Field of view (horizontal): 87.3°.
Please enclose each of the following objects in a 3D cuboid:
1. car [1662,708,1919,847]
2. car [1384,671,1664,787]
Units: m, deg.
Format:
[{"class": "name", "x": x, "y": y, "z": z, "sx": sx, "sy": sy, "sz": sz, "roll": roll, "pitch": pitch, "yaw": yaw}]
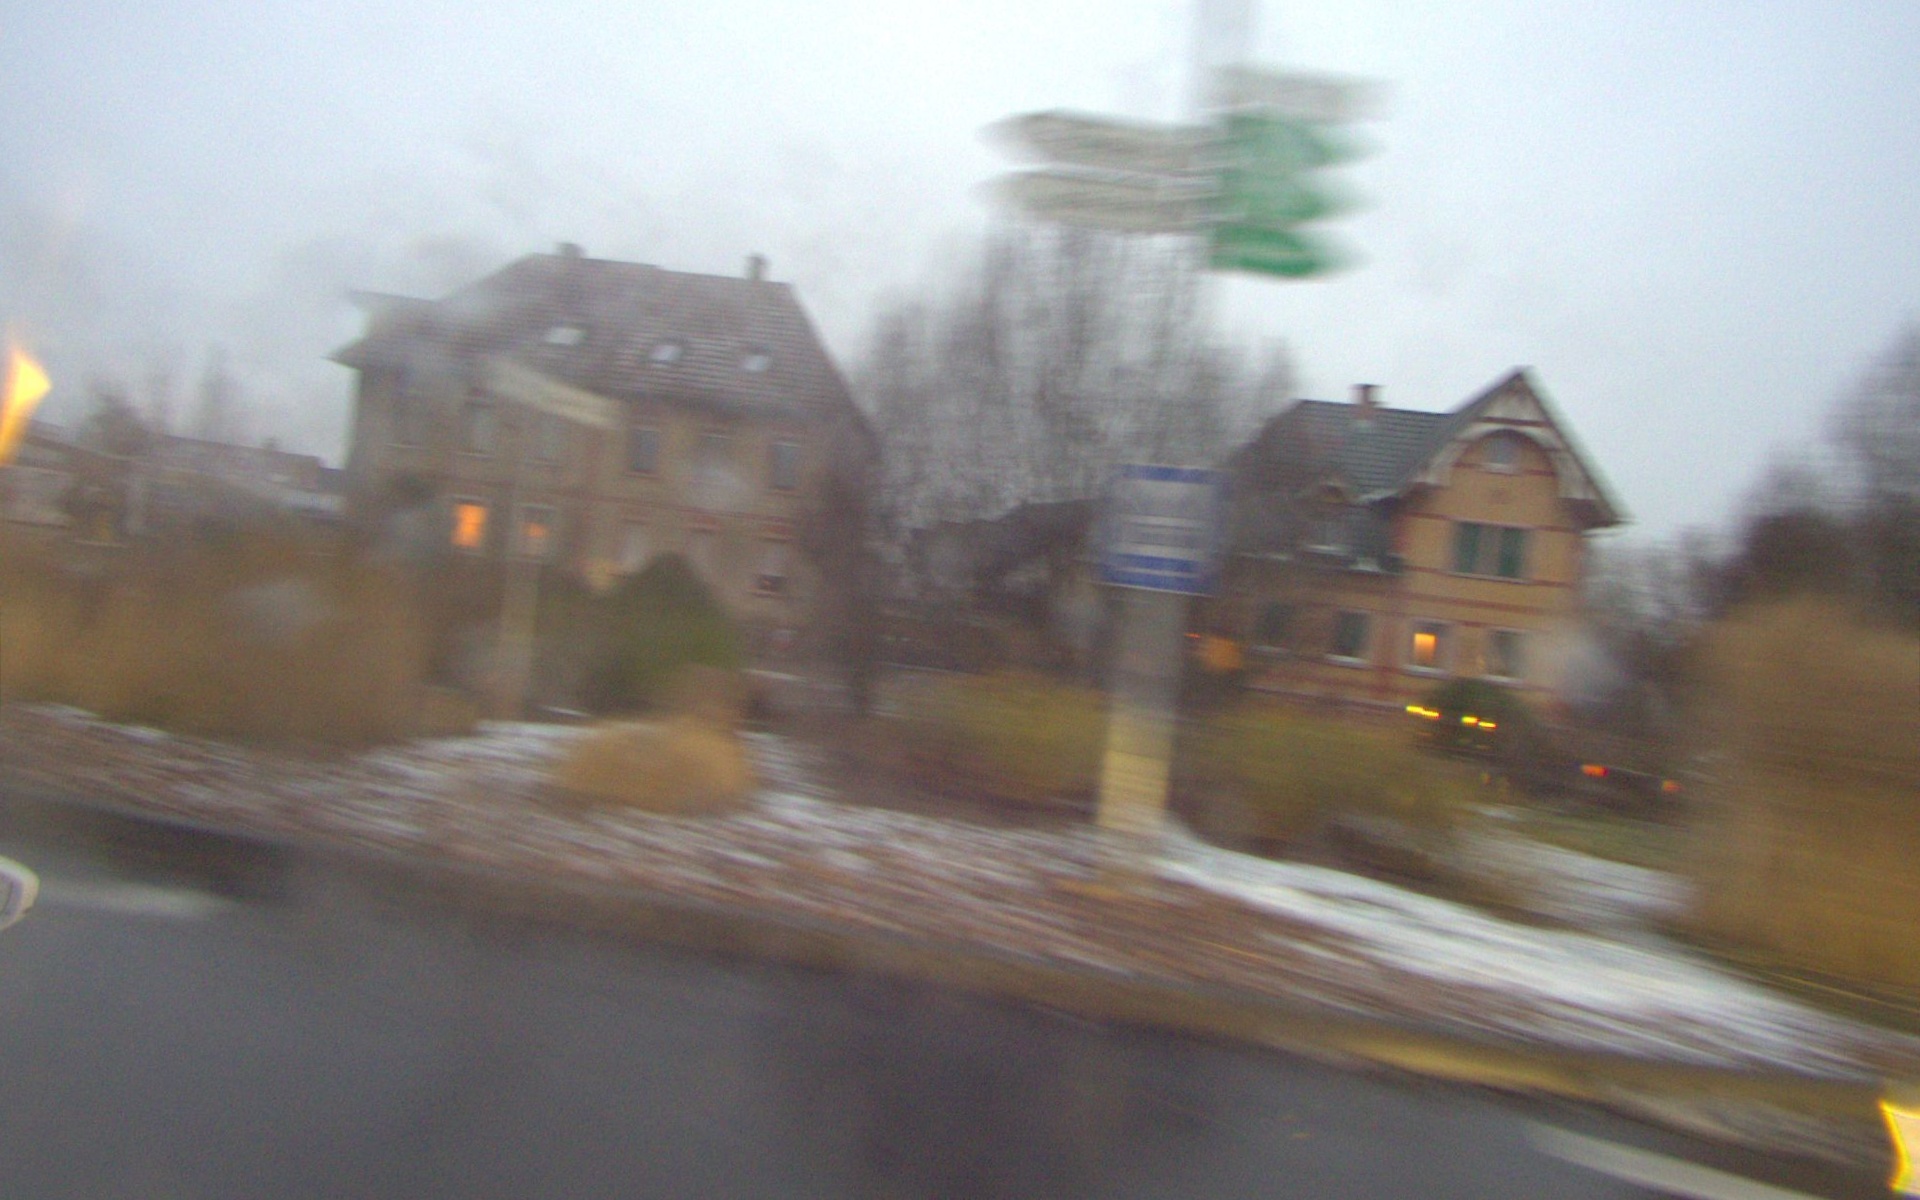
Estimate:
[{"class": "car", "x": 17.127, "y": 3.525, "z": 19.601, "sx": 5.148, "sy": 1.941, "sz": 1.941, "roll": 8, "pitch": -1, "yaw": 8}, {"class": "car", "x": 13.403, "y": 3.027, "z": 24.279, "sx": 5.229, "sy": 1.889, "sz": 2.367, "roll": 6, "pitch": 1, "yaw": 7}]
